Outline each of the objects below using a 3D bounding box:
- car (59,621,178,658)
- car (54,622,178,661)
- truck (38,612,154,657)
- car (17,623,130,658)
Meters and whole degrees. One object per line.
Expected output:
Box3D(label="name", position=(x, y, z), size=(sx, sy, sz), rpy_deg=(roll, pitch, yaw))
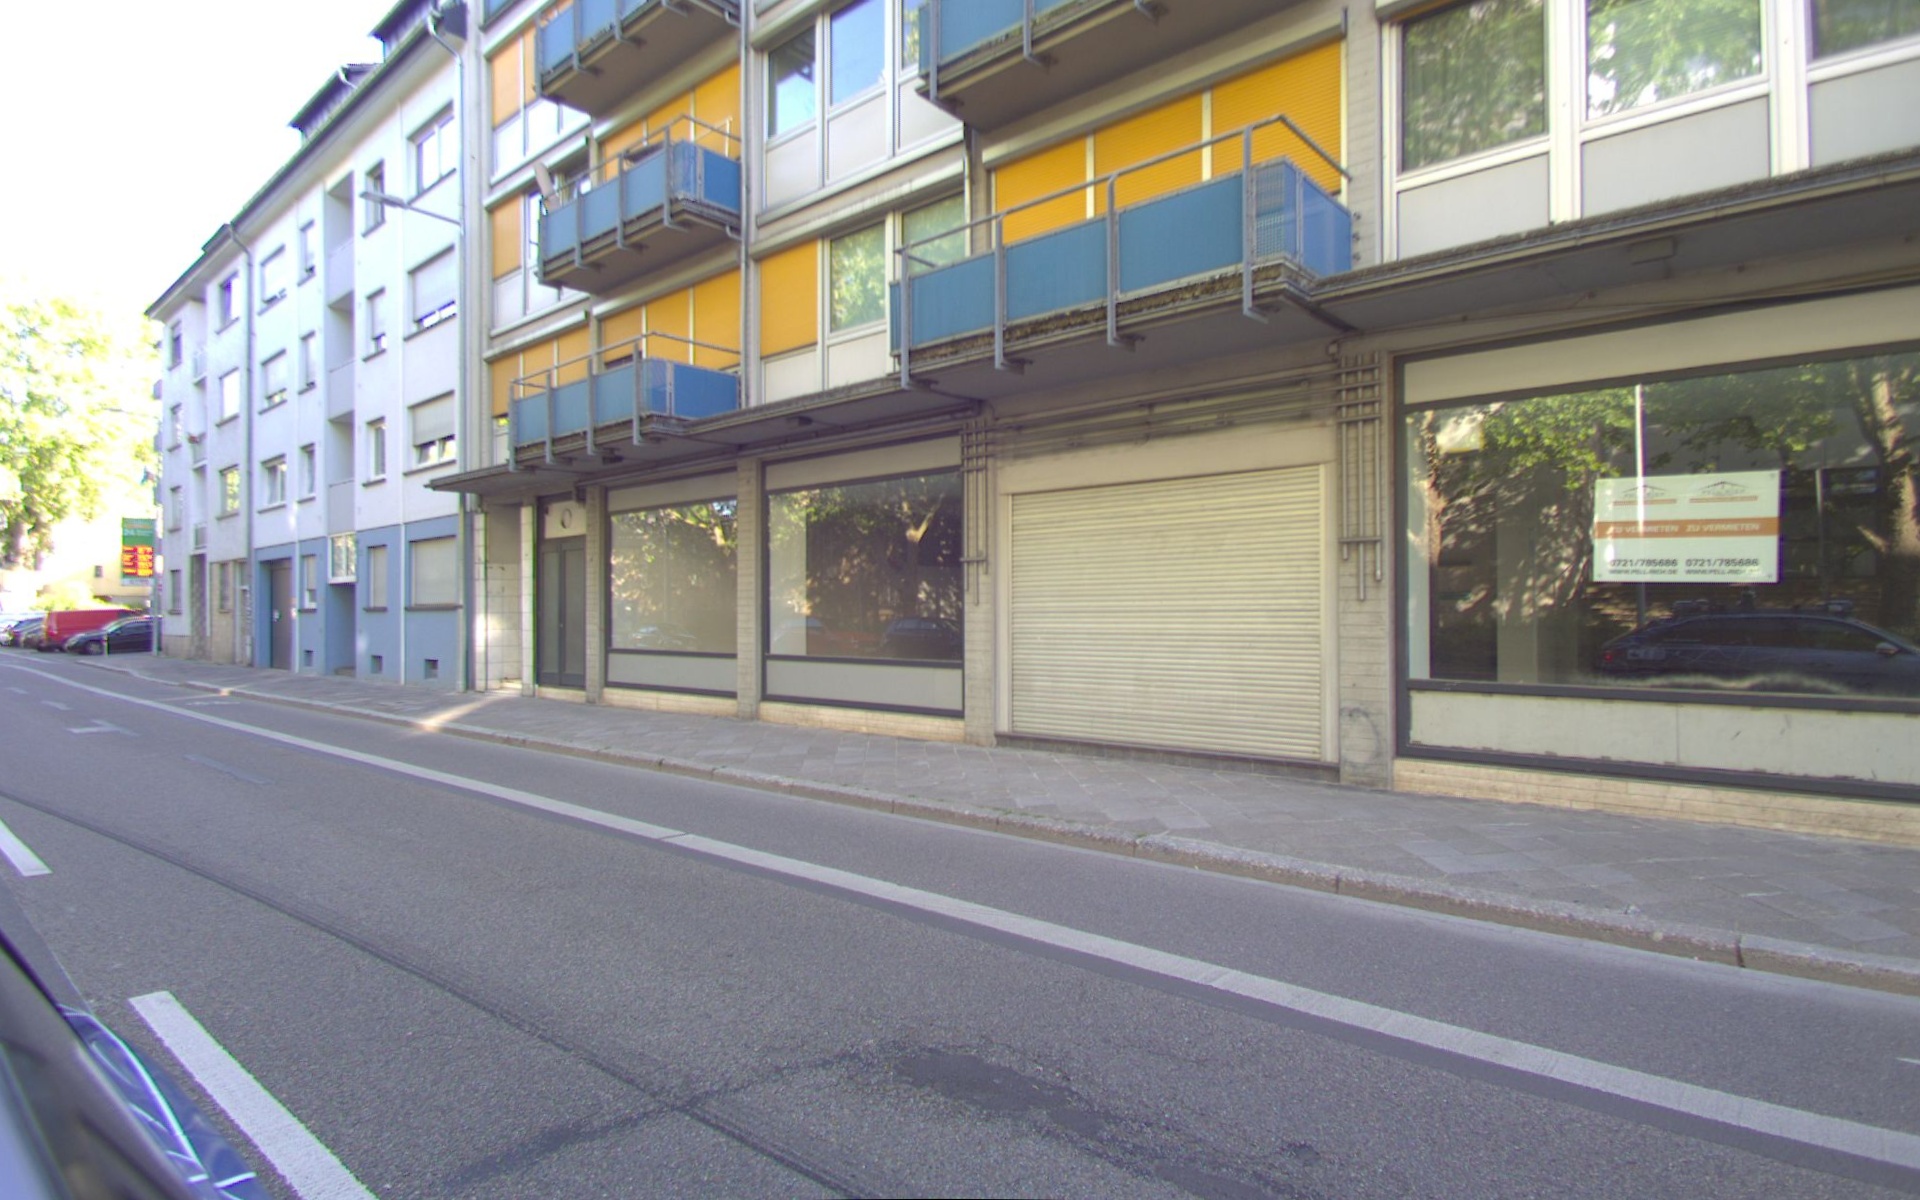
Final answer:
Box3D(label="car", position=(-38.117, 1.761, 45.902), size=(1.761, 1.514, 3.944), rpy_deg=(-1, 0, 42))
Box3D(label="car", position=(-36.636, 1.765, 44.015), size=(1.761, 1.468, 3.944), rpy_deg=(-1, 0, 42))
Box3D(label="truck", position=(-40.508, 1.574, 47.494), size=(1.761, 1.951, 3.944), rpy_deg=(-1, 0, 42))
Box3D(label="car", position=(-42.918, 1.906, 49.041), size=(1.761, 1.514, 3.944), rpy_deg=(-1, 0, 42))
